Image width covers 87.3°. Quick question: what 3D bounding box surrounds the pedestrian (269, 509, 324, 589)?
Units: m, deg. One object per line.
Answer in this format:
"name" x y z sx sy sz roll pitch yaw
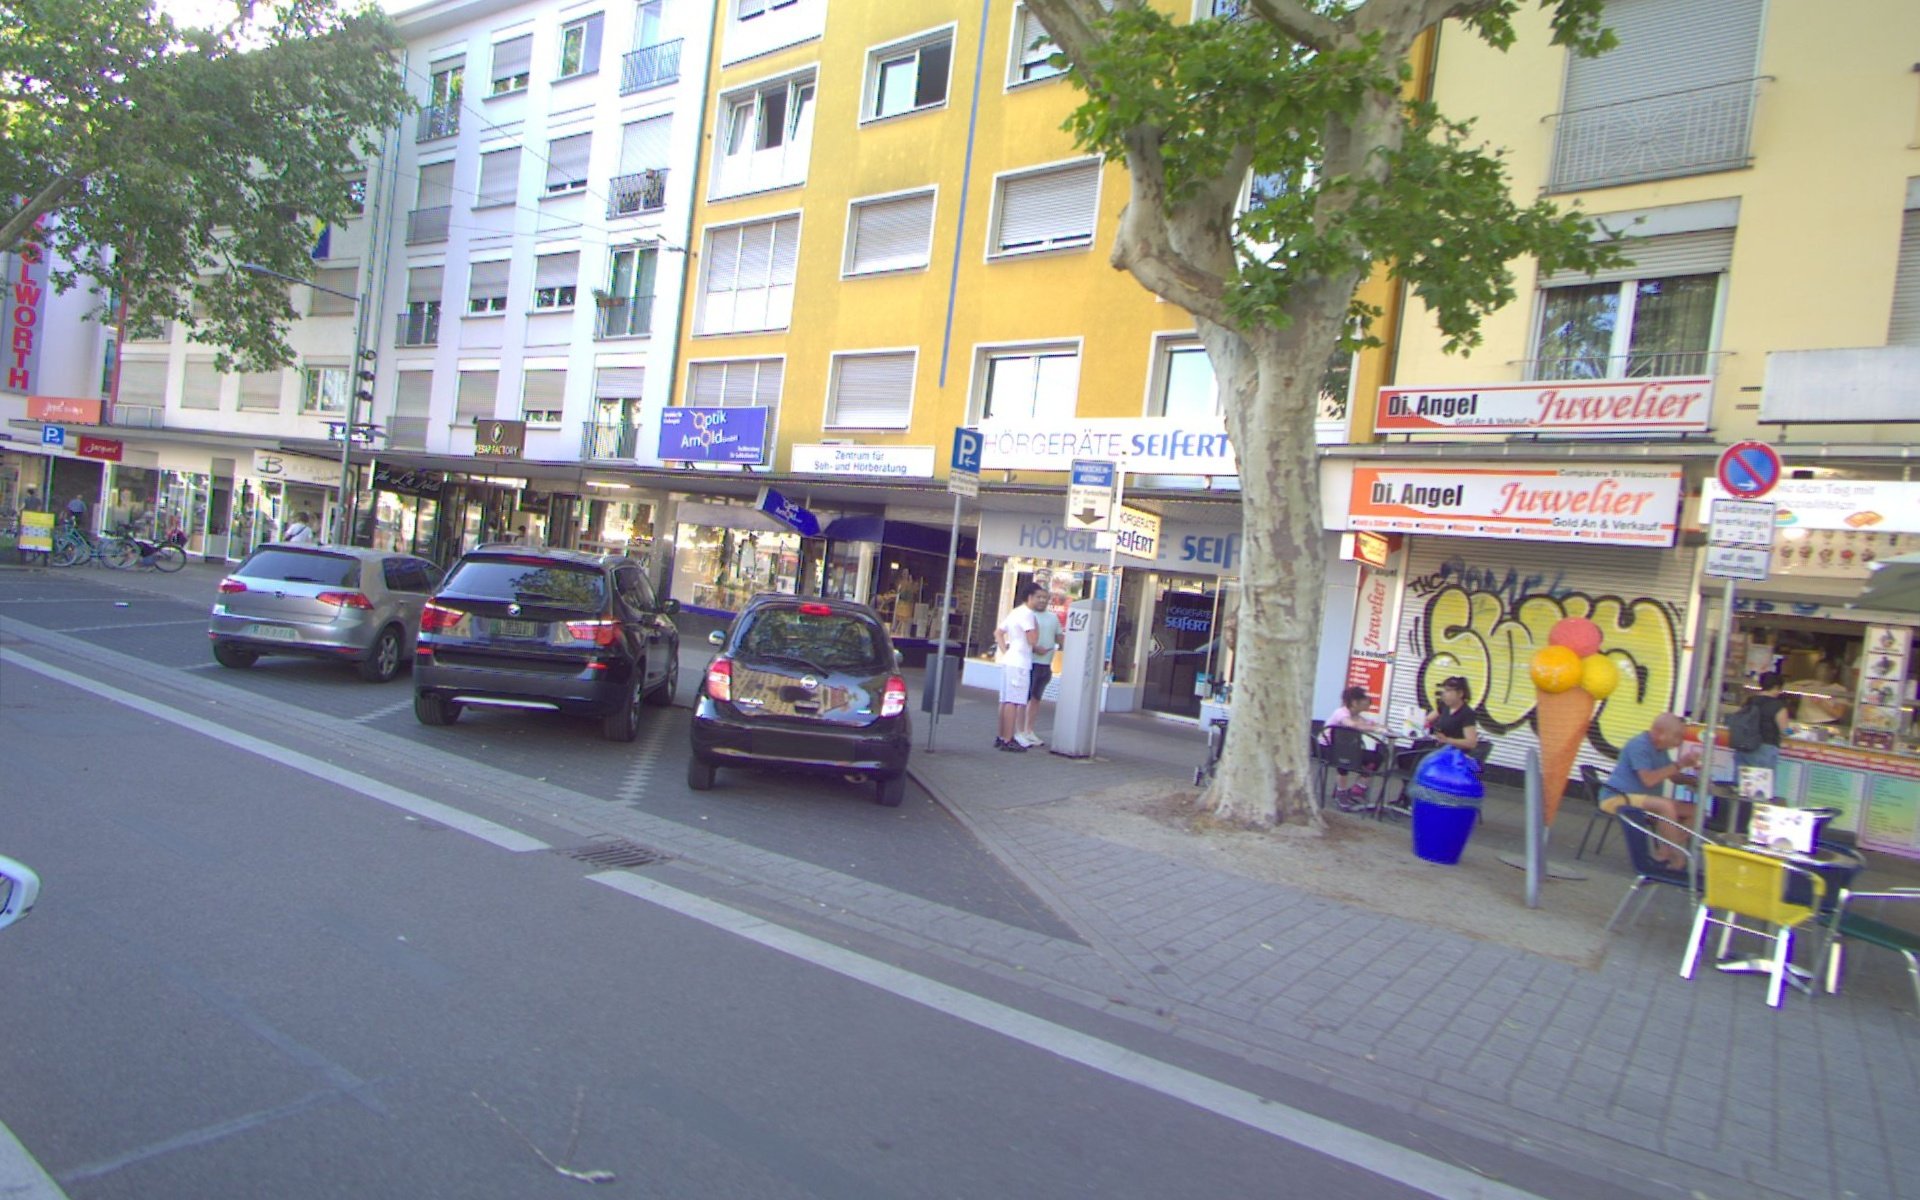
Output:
"pedestrian" -16.793 -1.274 25.461 0.809 1.900 0.645 7 1 19

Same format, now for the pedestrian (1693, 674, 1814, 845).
"pedestrian" 7.863 1.557 9.981 0.618 1.567 0.633 2 3 -27

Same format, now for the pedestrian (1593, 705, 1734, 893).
"pedestrian" 5.359 1.484 7.706 0.733 1.240 0.606 7 1 32

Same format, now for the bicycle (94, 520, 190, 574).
"bicycle" -20.873 -1.346 25.692 0.668 1.169 1.761 7 2 40

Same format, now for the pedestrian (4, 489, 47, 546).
"pedestrian" -31.537 -2.780 33.940 0.751 1.816 0.781 7 1 32

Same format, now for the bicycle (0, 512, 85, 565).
"bicycle" -23.436 -1.565 25.440 0.701 1.205 1.872 7 3 40

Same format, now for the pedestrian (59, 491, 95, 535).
"pedestrian" -37.407 -3.688 42.629 0.820 1.700 0.749 9 2 26

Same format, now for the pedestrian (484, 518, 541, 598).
"pedestrian" -11.280 -1.046 25.387 0.724 1.900 0.913 7 1 21

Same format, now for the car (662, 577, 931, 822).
"car" -1.385 0.698 8.830 1.712 1.559 3.603 6 0 -8

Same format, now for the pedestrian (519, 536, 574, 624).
"pedestrian" -8.870 -0.429 21.577 0.776 1.816 0.705 7 4 38

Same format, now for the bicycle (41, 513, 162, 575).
"bicycle" -21.042 -1.354 24.701 0.818 1.248 2.079 7 1 37

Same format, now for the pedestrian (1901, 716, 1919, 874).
"pedestrian" 8.849 1.529 8.743 0.629 1.826 0.623 6 1 -22

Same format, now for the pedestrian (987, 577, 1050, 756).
"pedestrian" 0.628 0.704 10.921 0.466 1.855 0.517 6 1 0

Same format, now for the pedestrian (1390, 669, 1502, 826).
"pedestrian" 4.513 1.345 9.330 0.746 1.290 0.584 7 -1 32

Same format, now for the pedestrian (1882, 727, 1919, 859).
"pedestrian" 10.104 2.032 10.530 0.500 1.313 0.425 7 1 36

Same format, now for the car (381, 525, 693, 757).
"car" -3.954 0.328 10.198 1.778 1.702 4.145 6 0 -8

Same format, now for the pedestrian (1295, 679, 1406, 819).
"pedestrian" 3.578 1.341 9.214 0.738 1.128 0.584 7 -1 32

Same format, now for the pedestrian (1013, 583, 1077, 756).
"pedestrian" 0.962 0.773 11.304 0.466 1.855 0.517 6 1 10

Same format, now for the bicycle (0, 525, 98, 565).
"bicycle" -23.982 -1.439 26.460 0.701 0.775 1.874 8 1 40

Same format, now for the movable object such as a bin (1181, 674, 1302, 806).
"movable object such as a bin" 2.581 1.265 9.333 0.824 1.035 0.930 7 -1 6

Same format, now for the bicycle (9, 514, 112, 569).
"bicycle" -22.460 -1.443 25.143 0.660 1.205 1.788 6 2 24

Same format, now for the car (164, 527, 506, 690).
"car" -7.304 0.087 12.344 1.777 1.469 4.173 6 0 -6
